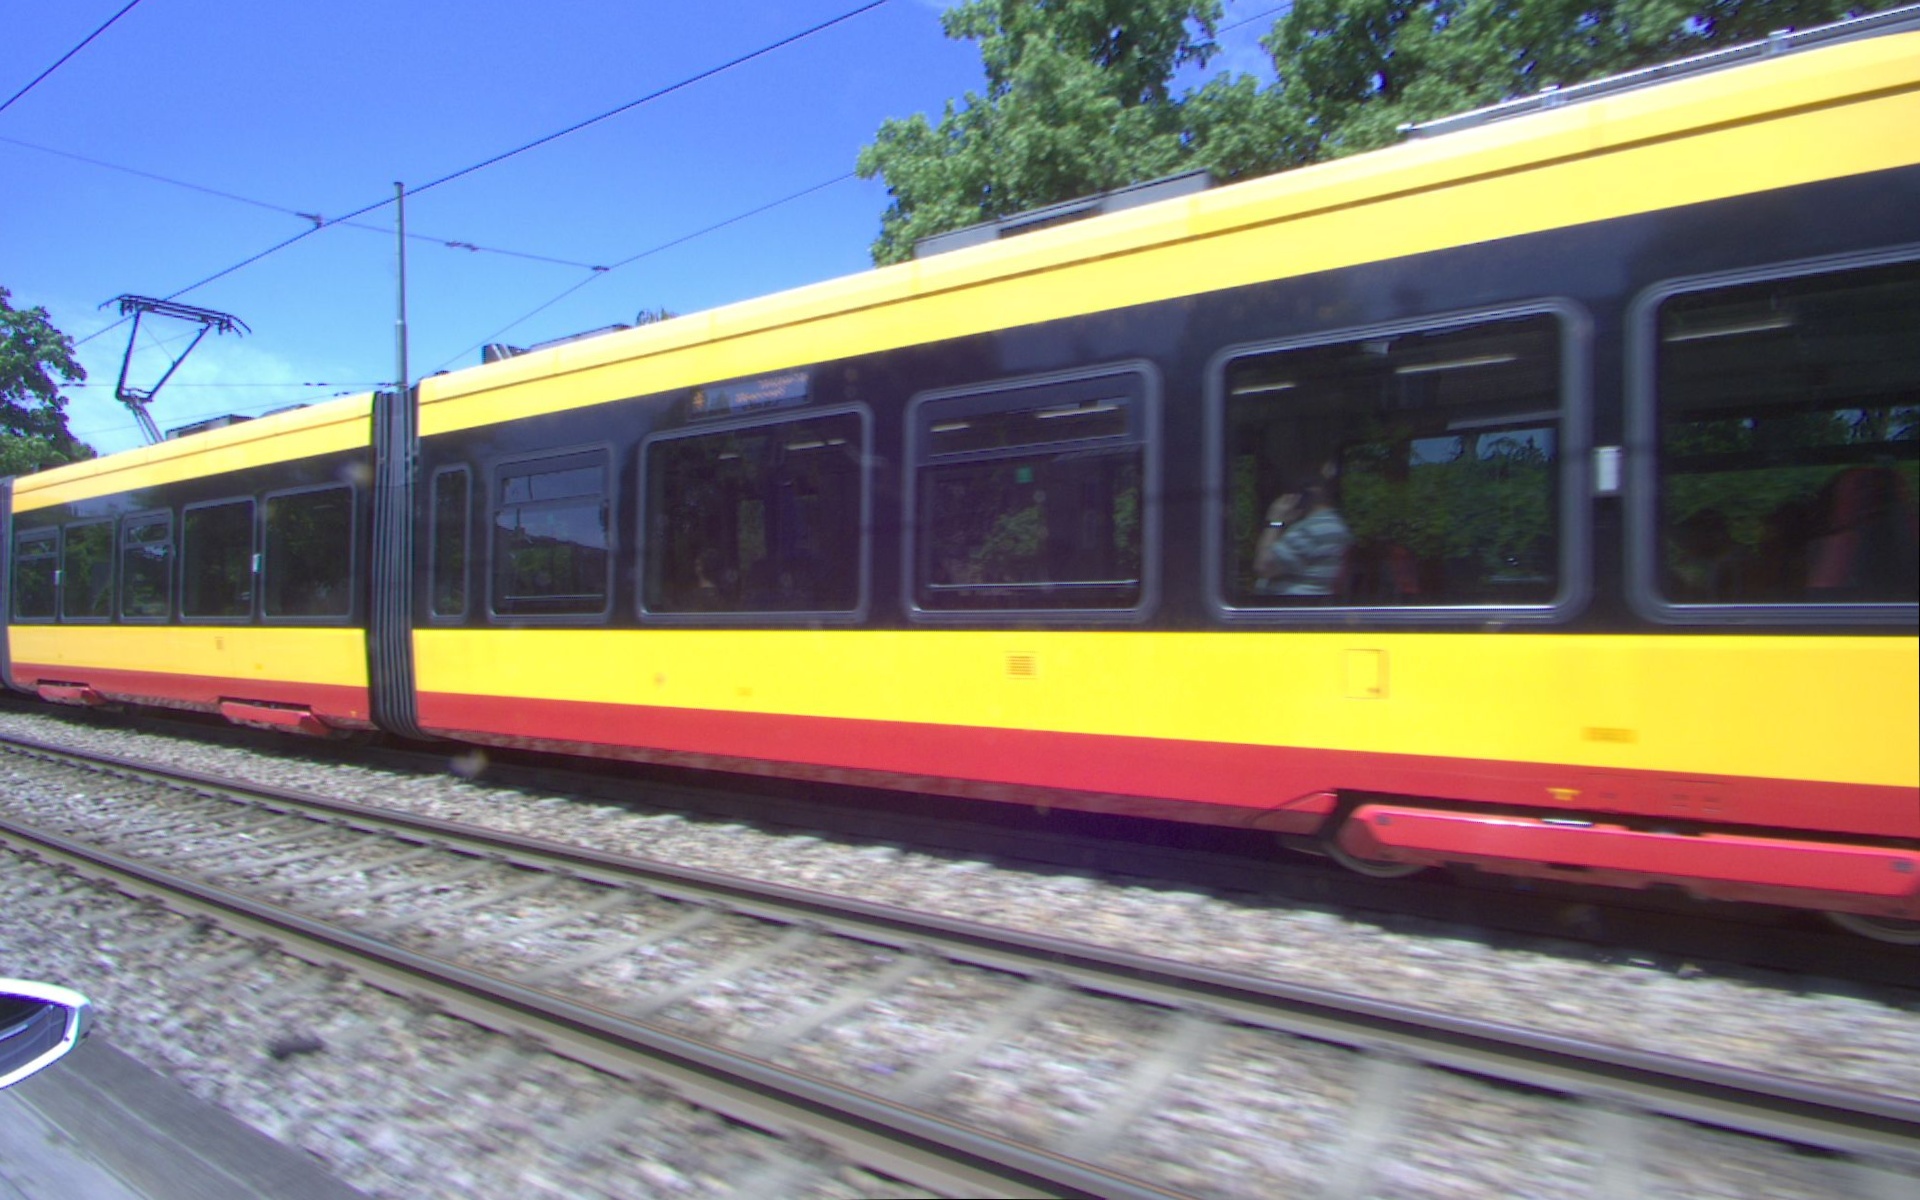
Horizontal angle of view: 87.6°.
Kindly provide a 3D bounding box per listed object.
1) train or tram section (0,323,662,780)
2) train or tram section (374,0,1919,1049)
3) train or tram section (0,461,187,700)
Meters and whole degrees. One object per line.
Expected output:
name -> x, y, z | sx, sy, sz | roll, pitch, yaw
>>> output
train or tram section -> -9.480, -0.363, 13.293 | 12.906, 3.848, 3.021 | 0, 1, 34
train or tram section -> 1.362, -0.504, 5.997 | 12.906, 3.848, 3.021 | 0, 1, 34
train or tram section -> -20.149, -0.266, 20.421 | 12.581, 3.848, 3.021 | 0, 1, 34
